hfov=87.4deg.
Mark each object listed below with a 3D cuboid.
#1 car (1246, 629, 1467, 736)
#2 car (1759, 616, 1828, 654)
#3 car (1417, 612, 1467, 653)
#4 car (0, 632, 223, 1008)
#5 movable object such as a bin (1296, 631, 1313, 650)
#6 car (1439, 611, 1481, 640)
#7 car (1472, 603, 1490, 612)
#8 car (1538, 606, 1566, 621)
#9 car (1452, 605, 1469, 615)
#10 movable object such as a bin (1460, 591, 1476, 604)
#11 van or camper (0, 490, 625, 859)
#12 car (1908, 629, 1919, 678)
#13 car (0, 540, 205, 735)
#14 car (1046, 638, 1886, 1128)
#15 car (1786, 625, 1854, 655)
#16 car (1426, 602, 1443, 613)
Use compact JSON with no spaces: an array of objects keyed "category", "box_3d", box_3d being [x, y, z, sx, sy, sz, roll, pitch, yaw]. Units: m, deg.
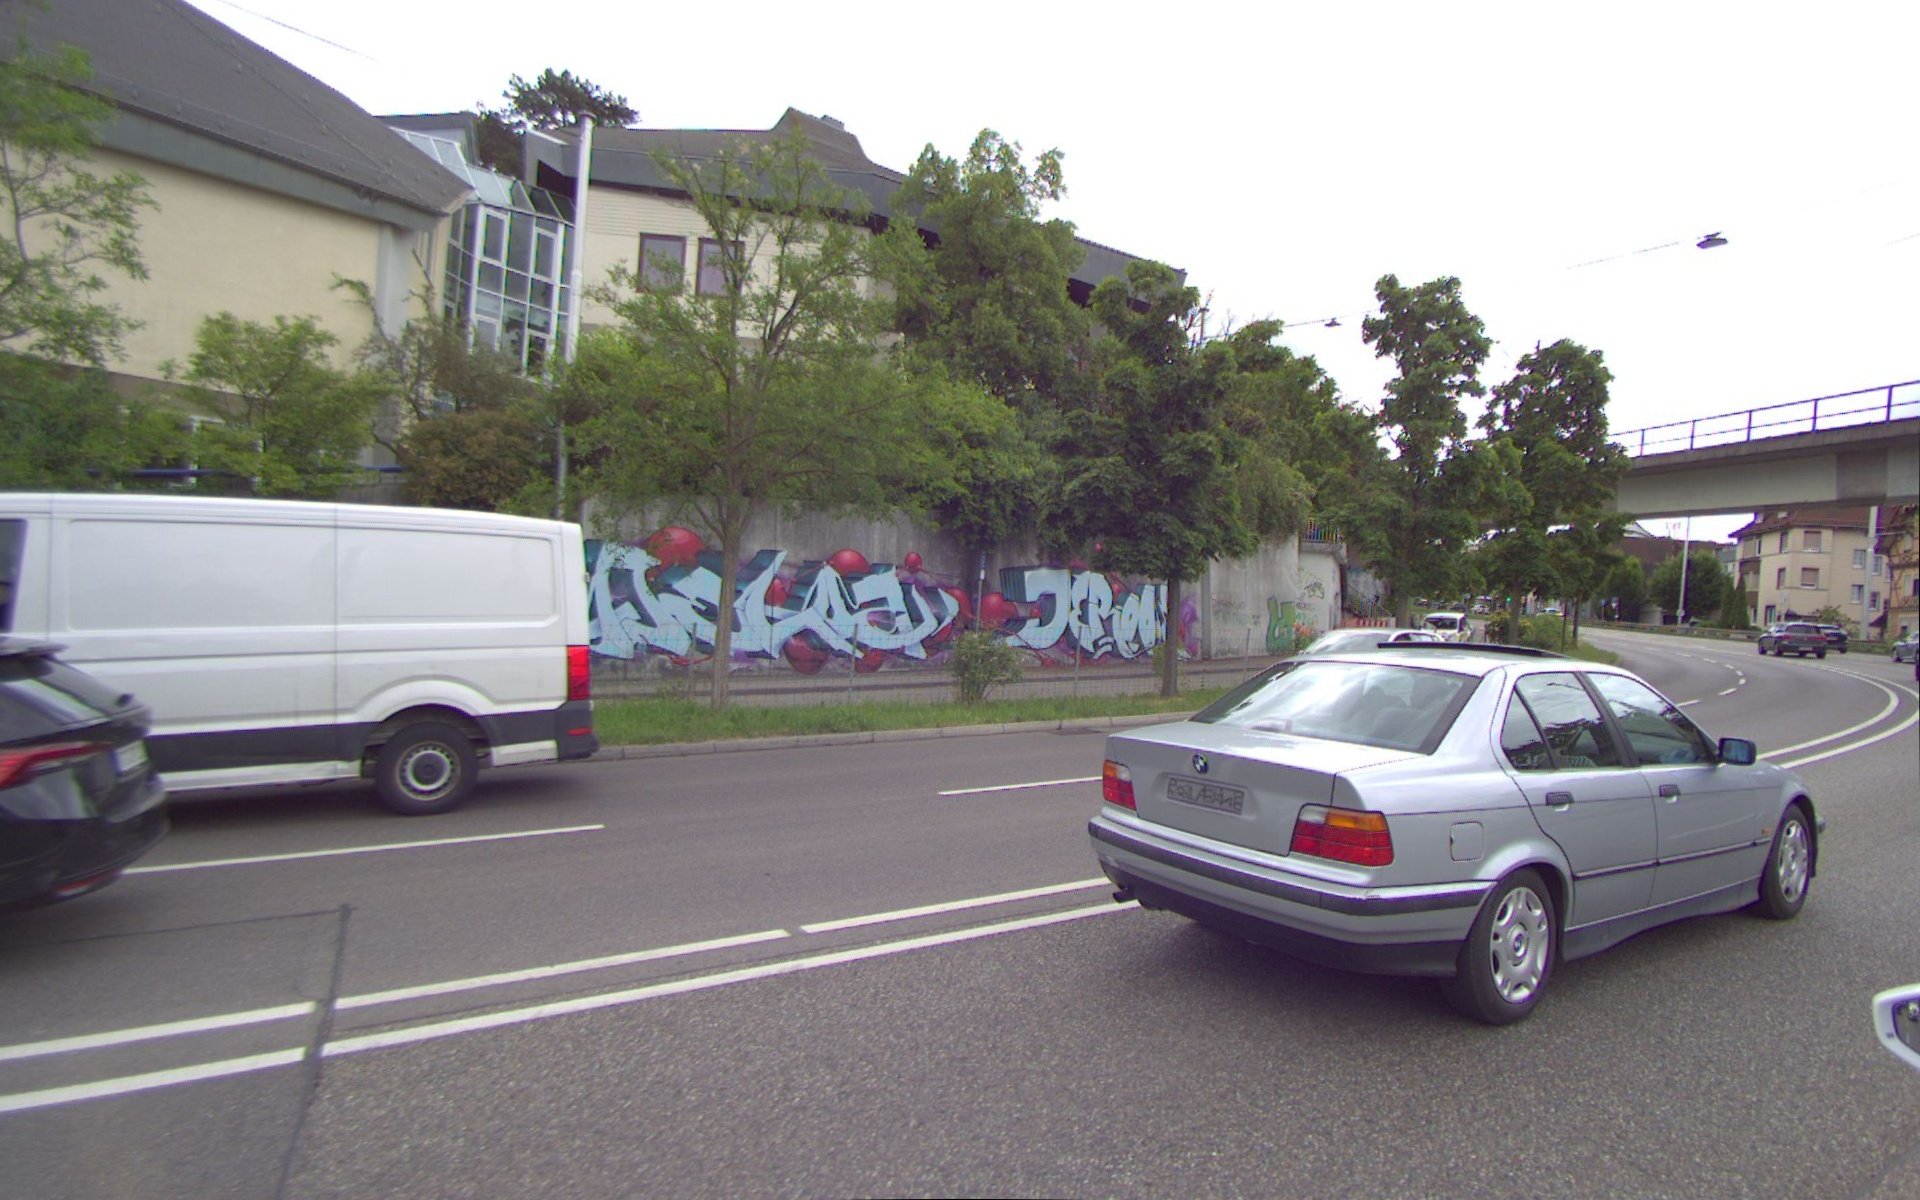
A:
[{"category":"car","box_3d":[6.306,1.197,15.797,3.778,1.427,1.688,1,-1,-41]},{"category":"car","box_3d":[39.677,1.641,47.895,1.696,1.662,3.453,1,1,26]},{"category":"car","box_3d":[22.559,1.483,46.972,1.741,1.809,4.456,-1,0,30]},{"category":"car","box_3d":[-5.614,0.864,3.791,4.377,1.433,1.727,1,-1,-30]},{"category":"movable object such as a bin","box_3d":[13.303,1.564,38.743,0.548,0.649,0.581,5,4,21]},{"category":"car","box_3d":[26.801,1.348,53.831,1.741,1.438,3.795,1,0,31]},{"category":"car","box_3d":[77.233,1.096,149.034,1.693,1.394,3.457,1,1,17]},{"category":"car","box_3d":[60.076,1.336,101.988,1.693,1.394,3.457,1,1,17]},{"category":"car","box_3d":[74.086,1.466,148.784,1.693,1.394,3.457,1,1,17]},{"category":"movable object such as a bin","box_3d":[84.438,-0.394,166.958,1.860,1.895,1.529,5,3,9]},{"category":"van or camper","box_3d":[-5.757,0.477,7.521,5.893,2.291,1.998,1,0,-31]},{"category":"car","box_3d":[28.876,1.585,29.054,1.701,1.394,3.443,2,1,37]},{"category":"car","box_3d":[-13.149,0.422,12.051,6.253,2.303,2.256,1,-1,-31]},{"category":"car","box_3d":[2.746,0.951,5.026,4.568,1.401,1.625,1,1,-32]},{"category":"car","box_3d":[46.748,2.148,54.677,1.694,1.394,3.456,1,1,20]},{"category":"car","box_3d":[73.379,1.204,155.388,1.693,1.604,3.458,1,1,15]}]
